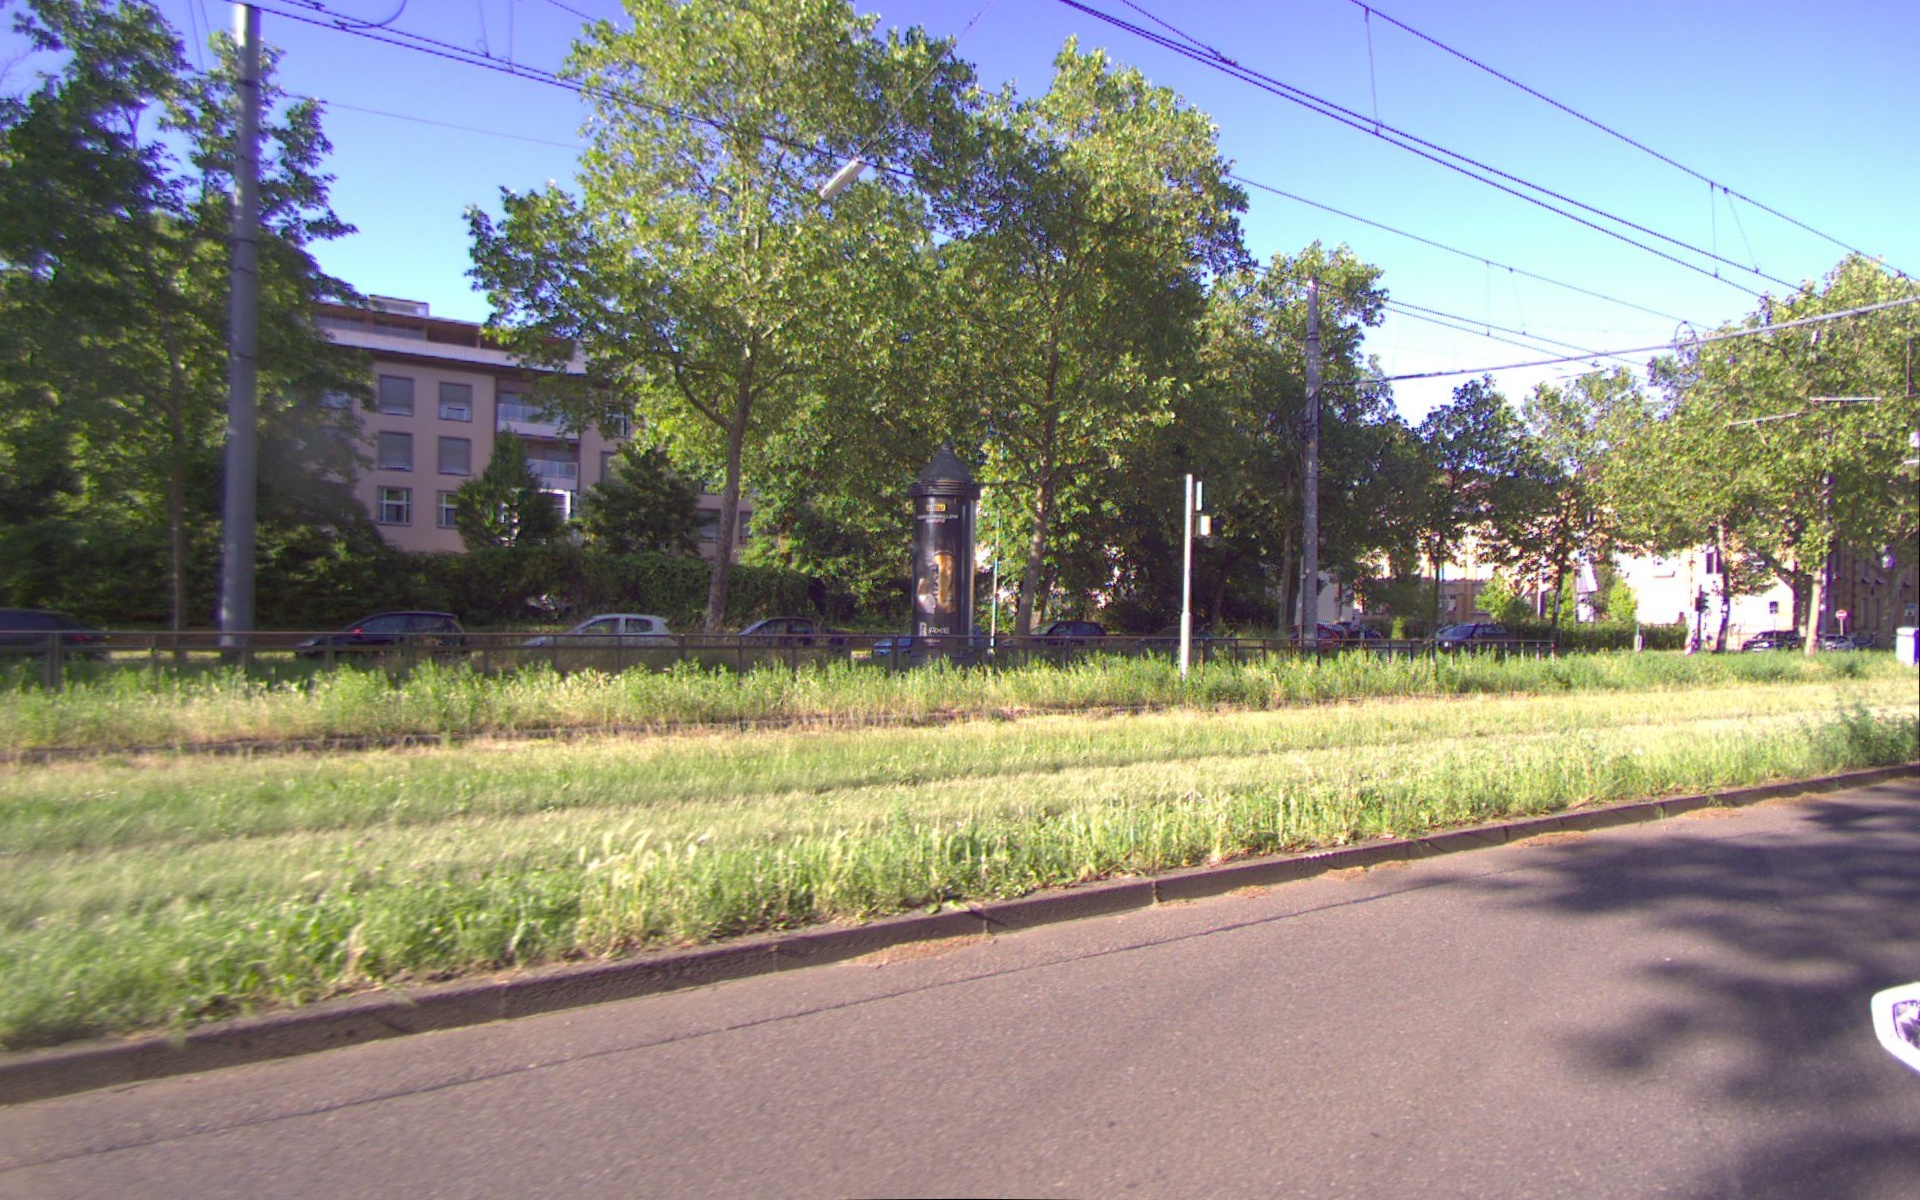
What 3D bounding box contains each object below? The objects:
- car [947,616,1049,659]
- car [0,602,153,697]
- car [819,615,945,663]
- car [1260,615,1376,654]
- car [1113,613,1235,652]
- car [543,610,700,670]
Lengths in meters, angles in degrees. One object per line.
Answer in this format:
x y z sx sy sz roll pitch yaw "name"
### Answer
1.175 1.137 30.680 2.813 1.216 1.393 2 0 -32 "car"
-18.393 0.928 19.549 3.955 1.706 1.811 1 2 -32 "car"
-2.205 1.101 28.588 3.322 1.245 1.399 2 0 -32 "car"
13.458 1.263 37.738 3.950 1.328 1.985 1 1 -29 "car"
7.400 1.112 34.657 3.954 1.194 1.783 2 1 -31 "car"
-8.404 0.958 24.993 3.462 1.330 1.560 1 2 -30 "car"
